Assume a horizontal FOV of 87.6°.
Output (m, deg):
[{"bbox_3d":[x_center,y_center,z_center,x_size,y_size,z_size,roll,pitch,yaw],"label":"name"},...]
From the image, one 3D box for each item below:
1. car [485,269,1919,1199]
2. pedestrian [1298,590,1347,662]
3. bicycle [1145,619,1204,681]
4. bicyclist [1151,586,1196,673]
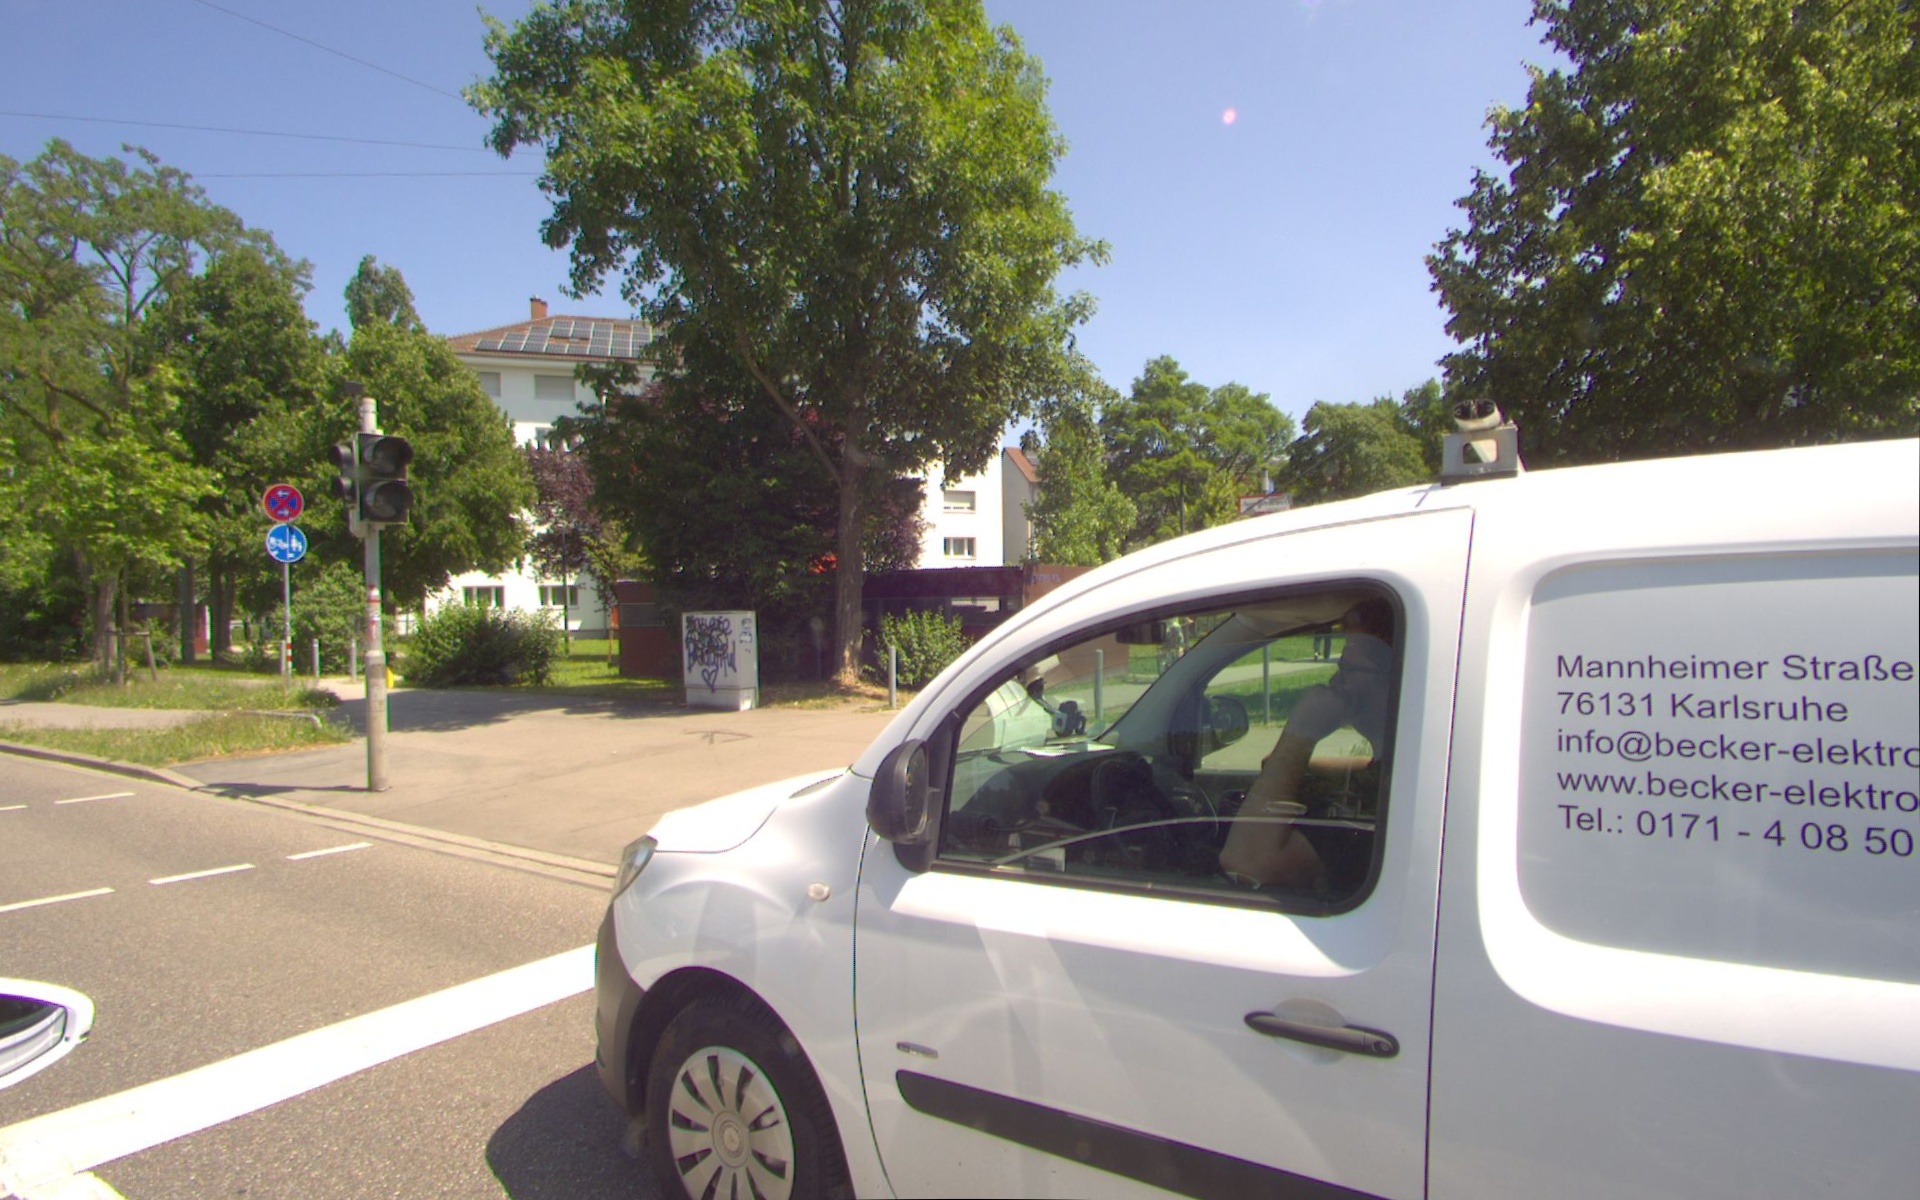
[{"bbox_3d":[1.125,0.564,2.305,4.384,1.850,1.990,-1,0,32],"label":"car"},{"bbox_3d":[9.344,0.662,25.781,0.829,1.801,1.180,-2,1,36],"label":"pedestrian"},{"bbox_3d":[4.298,0.970,20.010,0.533,1.176,1.954,0,-1,32],"label":"bicycle"},{"bbox_3d":[4.256,0.580,19.941,0.572,1.689,0.955,0,0,32],"label":"bicyclist"}]
